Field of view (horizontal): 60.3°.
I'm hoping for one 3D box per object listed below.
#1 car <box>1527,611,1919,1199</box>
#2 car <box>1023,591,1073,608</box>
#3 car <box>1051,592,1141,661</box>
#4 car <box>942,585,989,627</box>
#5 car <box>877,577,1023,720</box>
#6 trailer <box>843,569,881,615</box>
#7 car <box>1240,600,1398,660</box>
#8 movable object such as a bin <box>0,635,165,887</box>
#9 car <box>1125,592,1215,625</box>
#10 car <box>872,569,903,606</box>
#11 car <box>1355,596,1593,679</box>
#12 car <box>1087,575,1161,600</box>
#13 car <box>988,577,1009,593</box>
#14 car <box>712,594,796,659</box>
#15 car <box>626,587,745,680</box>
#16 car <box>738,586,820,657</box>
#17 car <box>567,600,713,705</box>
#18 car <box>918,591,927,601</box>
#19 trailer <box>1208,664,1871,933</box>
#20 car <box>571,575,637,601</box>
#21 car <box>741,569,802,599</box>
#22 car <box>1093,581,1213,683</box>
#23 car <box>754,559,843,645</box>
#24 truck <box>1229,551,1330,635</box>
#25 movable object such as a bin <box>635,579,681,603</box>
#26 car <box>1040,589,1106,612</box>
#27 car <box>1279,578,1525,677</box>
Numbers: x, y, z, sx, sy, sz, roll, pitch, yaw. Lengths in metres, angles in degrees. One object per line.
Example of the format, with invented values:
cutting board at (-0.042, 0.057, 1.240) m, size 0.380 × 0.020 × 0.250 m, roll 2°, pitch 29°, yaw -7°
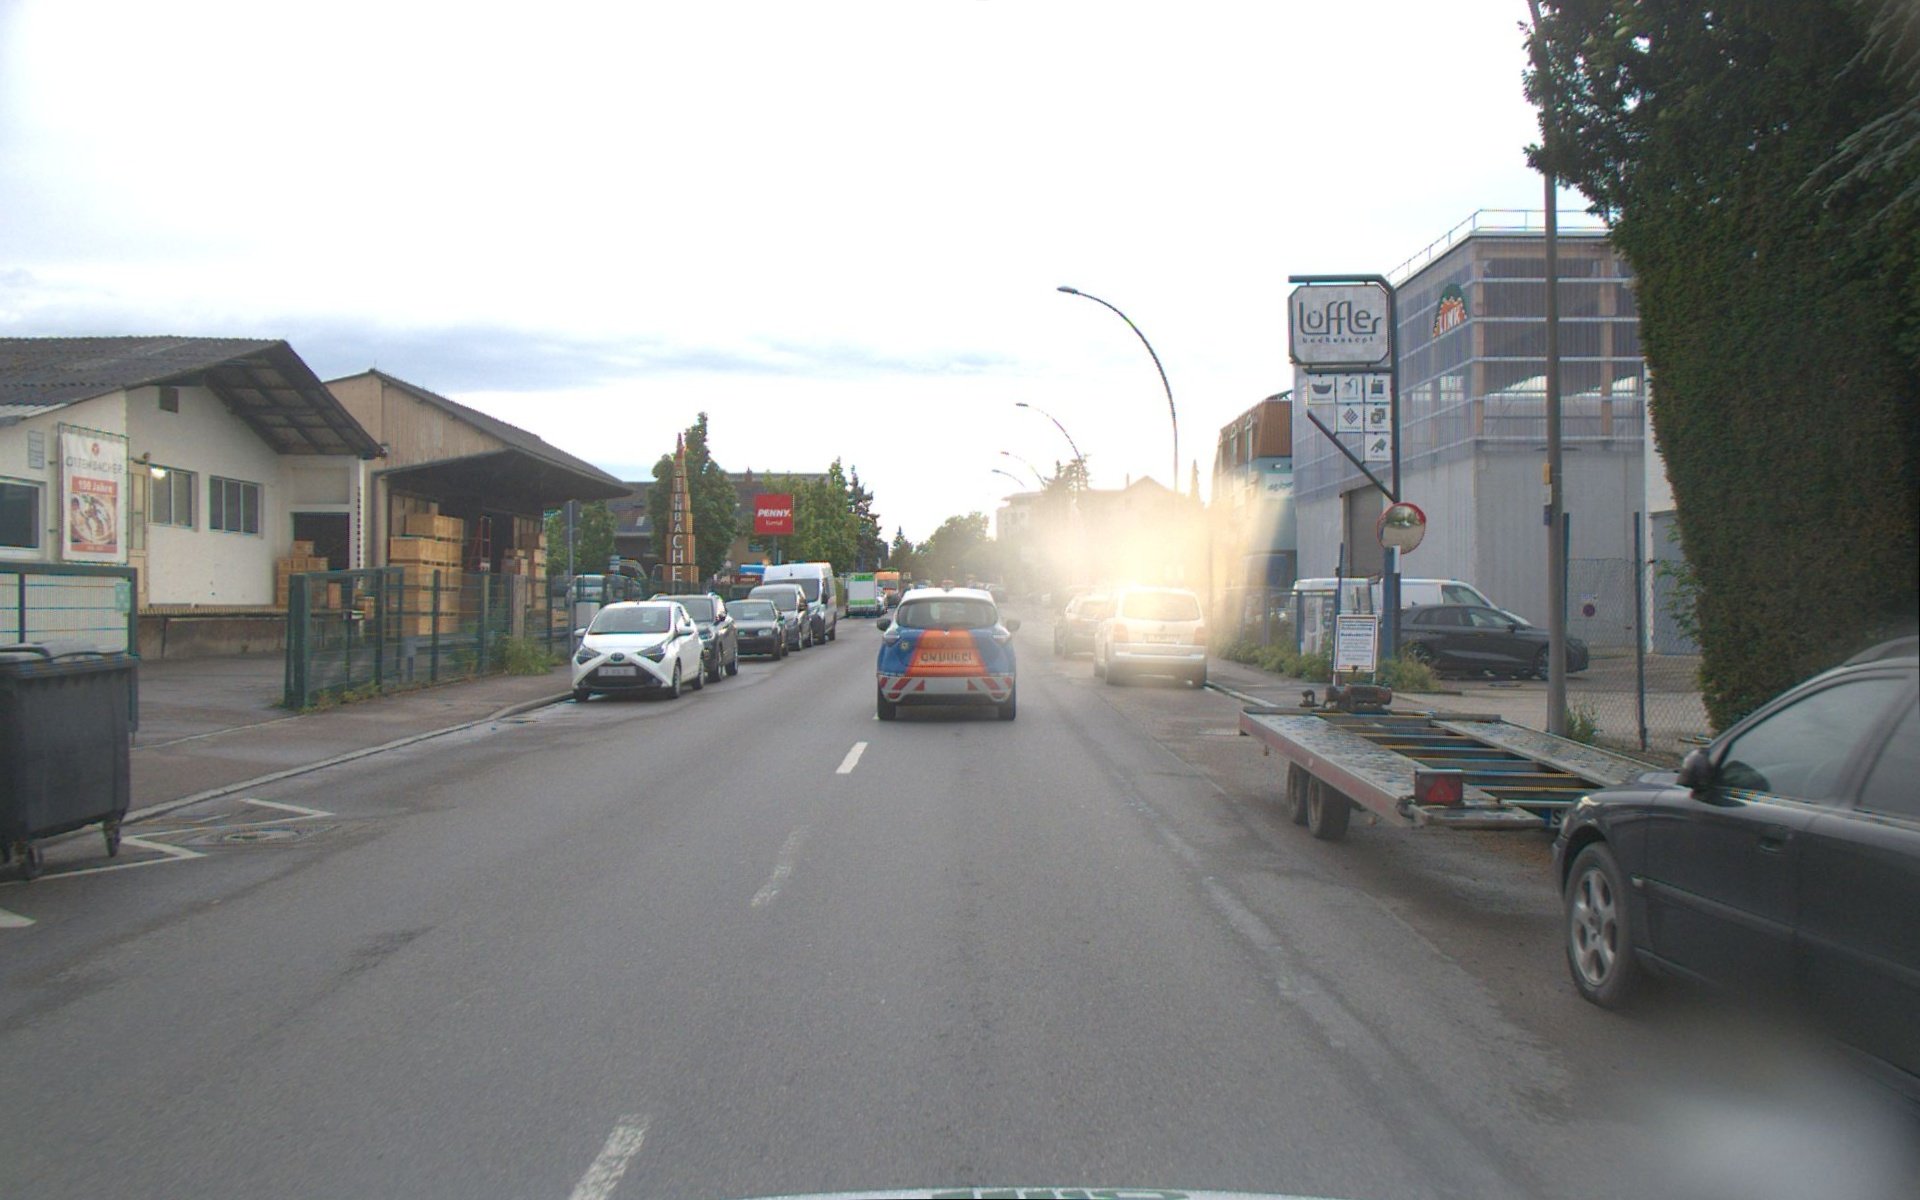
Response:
car at (3.309, 0.815, 4.934) m, size 1.704 × 1.458 × 4.649 m, roll 3°, pitch 0°, yaw 2°
car at (7.284, -0.070, 137.017) m, size 3.907 × 1.288 × 1.950 m, roll 1°, pitch 0°, yaw -2°
car at (3.167, 0.597, 39.253) m, size 1.703 × 1.492 × 4.545 m, roll 1°, pitch 0°, yaw 0°
car at (0.191, 0.237, 64.268) m, size 1.617 × 1.548 × 3.998 m, roll 1°, pitch 0°, yaw -2°
car at (-0.145, 0.563, 21.008) m, size 1.696 × 1.659 × 3.494 m, roll 0°, pitch 0°, yaw -1°
trailer at (-5.289, -0.440, 90.060) m, size 1.776 × 2.354 × 4.729 m, roll -2°, pitch 0°, yaw -1°
car at (10.368, 0.855, 48.003) m, size 4.156 × 1.563 × 1.811 m, roll 2°, pitch 0°, yaw 0°
movable object such as a bin at (-5.625, 0.902, 9.832) m, size 1.078 × 1.333 × 1.425 m, roll 1°, pitch 0°, yaw -1°
car at (9.609, 0.402, 75.781) m, size 3.906 × 1.455 × 1.630 m, roll 1°, pitch 0°, yaw -2°
car at (-5.235, -0.903, 119.968) m, size 2.081 × 2.582 × 6.020 m, roll -1°, pitch 1°, yaw -1°
car at (9.987, 0.712, 32.385) m, size 4.019 × 1.482 × 2.000 m, roll 1°, pitch 0°, yaw 0°
car at (10.072, -0.745, 101.630) m, size 4.326 × 1.417 × 1.879 m, roll 1°, pitch 0°, yaw -1°
car at (3.314, -1.304, 142.427) m, size 1.557 × 1.364 × 4.091 m, roll 0°, pitch 0°, yaw -2°
car at (-4.987, 0.627, 40.559) m, size 1.628 × 1.474 × 4.316 m, roll -1°, pitch 0°, yaw -2°
car at (-5.121, 0.599, 31.292) m, size 1.627 × 1.612 × 3.915 m, roll -2°, pitch 0°, yaw -1°
car at (-5.092, 0.589, 46.997) m, size 1.733 × 1.799 × 4.446 m, roll -3°, pitch 0°, yaw 0°
car at (-5.043, 0.777, 26.470) m, size 1.583 × 1.535 × 3.660 m, roll -1°, pitch 0°, yaw 0°
car at (-5.856, -0.602, 255.327) m, size 1.358 × 1.509 × 3.782 m, roll 0°, pitch 0°, yaw -2°
trailer at (3.264, 1.077, 11.206) m, size 2.129 × 0.913 × 6.636 m, roll 1°, pitch 1°, yaw 0°
car at (-23.394, -0.793, 108.873) m, size 3.975 × 1.578 × 1.884 m, roll 1°, pitch 0°, yaw -5°
car at (-13.781, -1.168, 121.175) m, size 4.218 × 2.049 × 2.063 m, roll 1°, pitch 0°, yaw 0°
car at (3.355, 0.532, 29.406) m, size 1.703 × 1.650 × 4.374 m, roll 1°, pitch 0°, yaw 2°
car at (-5.072, 0.041, 52.791) m, size 2.114 × 2.469 × 6.459 m, roll -3°, pitch 0°, yaw 0°
truck at (15.377, -0.334, 79.709) m, size 4.062 × 3.737 × 2.719 m, roll 3°, pitch 0°, yaw -3°
movable object such as a bin at (-23.789, -0.716, 130.236) m, size 3.356 × 1.790 × 1.997 m, roll 1°, pitch 0°, yaw -7°
car at (7.649, 0.044, 112.180) m, size 4.250 × 1.501 × 1.902 m, roll 1°, pitch 0°, yaw -1°
car at (9.253, 0.568, 34.888) m, size 4.635 × 1.919 × 2.000 m, roll 1°, pitch 0°, yaw 0°
